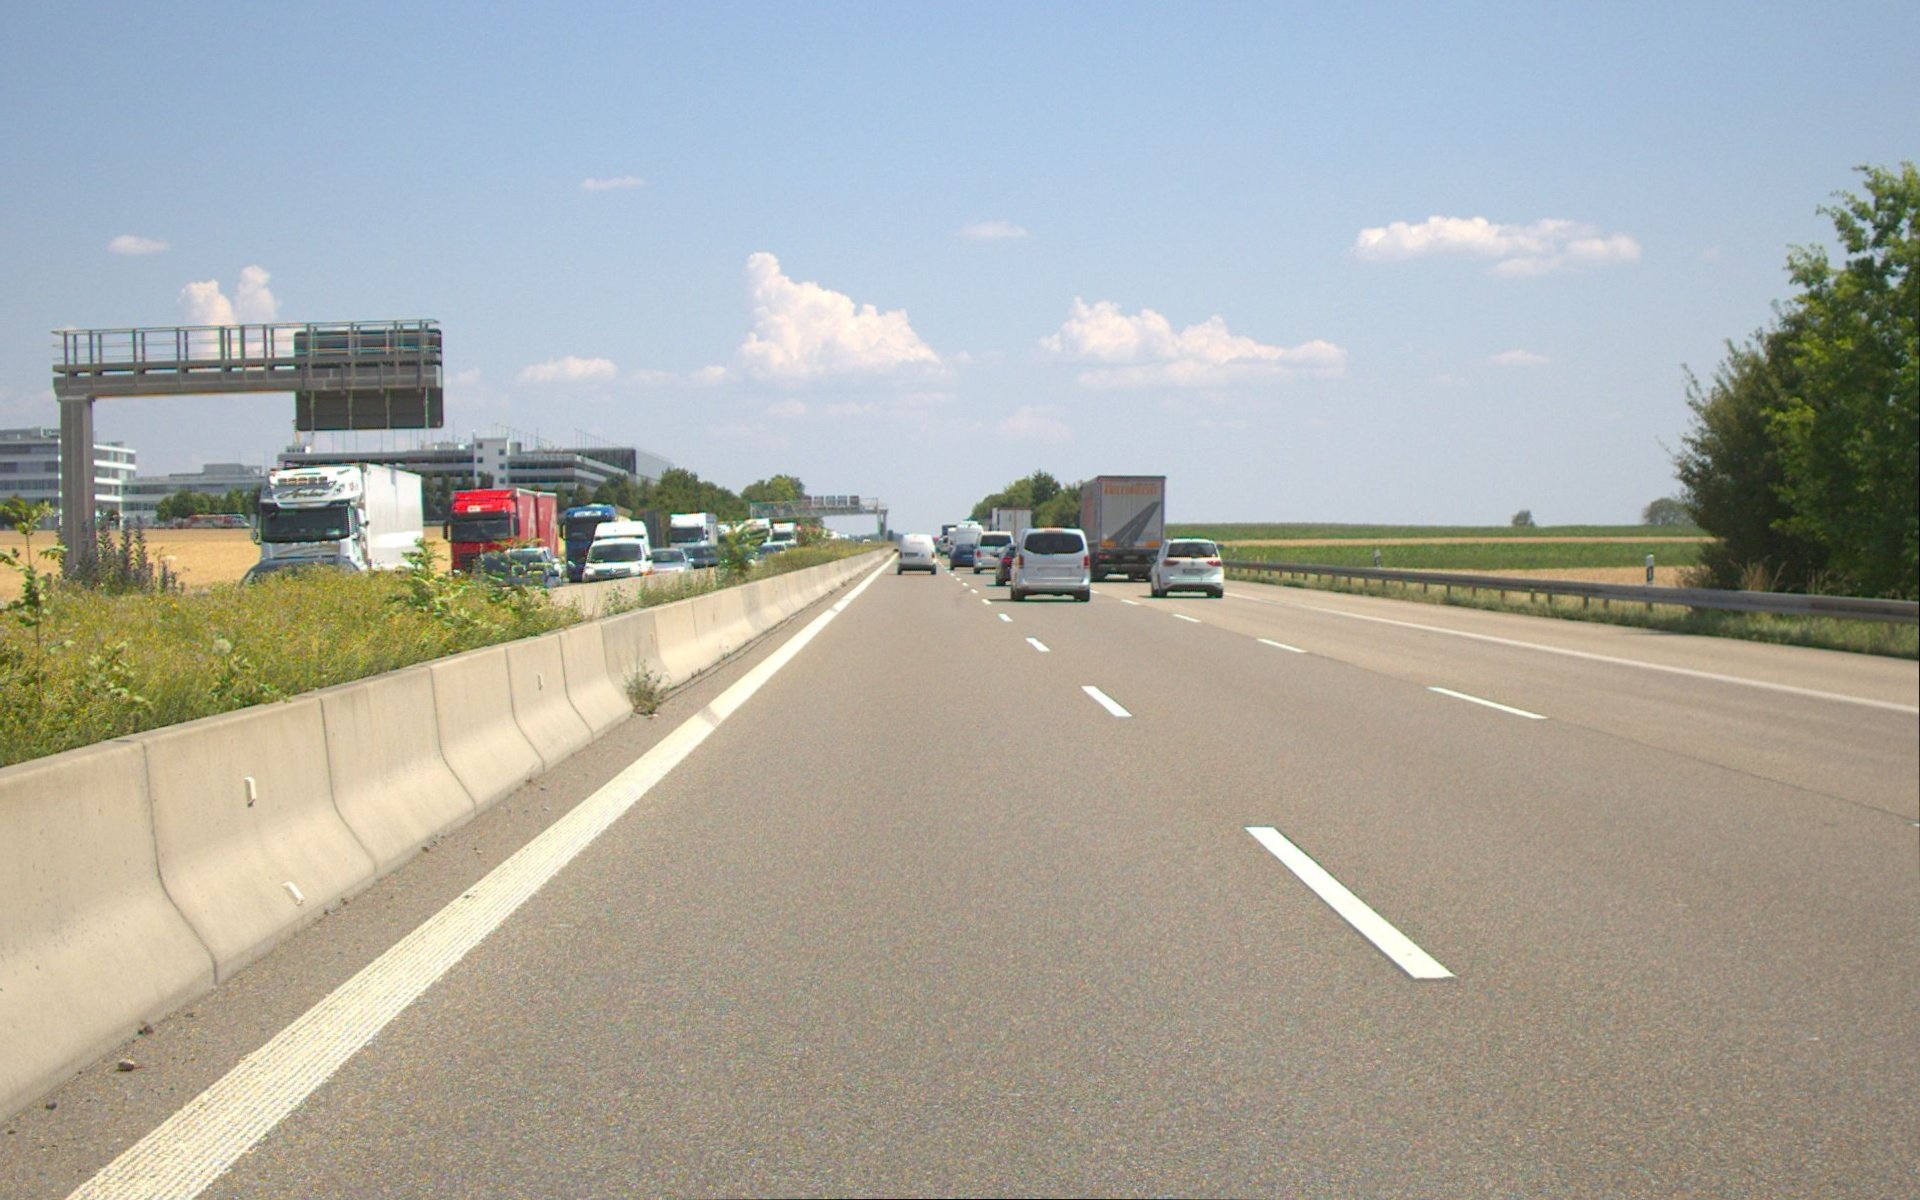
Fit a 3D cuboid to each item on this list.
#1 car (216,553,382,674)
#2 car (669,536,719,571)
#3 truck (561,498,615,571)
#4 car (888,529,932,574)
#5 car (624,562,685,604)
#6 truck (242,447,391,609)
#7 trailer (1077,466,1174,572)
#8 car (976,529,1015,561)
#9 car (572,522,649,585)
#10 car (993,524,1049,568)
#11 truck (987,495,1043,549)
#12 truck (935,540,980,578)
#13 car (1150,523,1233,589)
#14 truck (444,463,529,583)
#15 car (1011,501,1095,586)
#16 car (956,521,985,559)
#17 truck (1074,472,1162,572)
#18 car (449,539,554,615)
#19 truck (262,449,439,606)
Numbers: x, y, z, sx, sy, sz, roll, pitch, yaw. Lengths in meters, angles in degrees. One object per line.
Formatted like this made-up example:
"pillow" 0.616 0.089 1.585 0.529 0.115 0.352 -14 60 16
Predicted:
"car" -8.629 0.147 45.118 1.539 1.482 3.774 -1 1 -2
"car" -10.346 -1.814 133.856 1.718 1.345 3.774 -1 1 -2
"truck" -18.802 -3.321 173.885 2.109 3.588 7.122 -1 1 -2
"car" -2.266 -2.183 156.601 1.993 2.007 4.000 0 0 -1
"car" -10.302 -0.572 116.056 1.816 1.345 3.774 -1 1 -2
"truck" -17.401 -1.957 93.258 2.950 4.143 5.472 -2 1 -1
"trailer" 6.426 -3.109 134.998 3.277 3.953 9.113 0 0 -1
"car" 1.670 -2.590 163.146 1.773 1.442 4.000 0 0 -1
"car" -9.972 -1.337 98.267 1.816 1.747 4.994 -1 1 -2
"car" 2.081 -1.847 118.086 1.773 1.442 4.000 0 0 -1
"truck" 4.114 -5.832 258.208 3.815 3.891 9.581 -1 1 -1
"truck" -0.147 -2.201 183.488 2.211 2.007 4.972 -1 1 -2
"car" 6.409 -1.214 95.549 1.993 1.788 4.000 0 0 -1
"truck" -18.571 -3.013 135.036 2.776 4.582 4.724 -1 1 -2
"car" 2.358 -1.411 87.900 1.993 2.112 4.000 0 0 -1
"car" 0.639 -3.771 216.881 1.773 2.384 4.000 0 0 -1
"truck" 6.374 -3.116 139.270 3.271 3.953 4.912 0 0 -1
"car" -9.368 -0.492 70.511 1.673 1.482 4.398 -1 1 -2
"truck" -17.540 -2.098 99.802 2.950 4.143 12.868 -2 1 -1
